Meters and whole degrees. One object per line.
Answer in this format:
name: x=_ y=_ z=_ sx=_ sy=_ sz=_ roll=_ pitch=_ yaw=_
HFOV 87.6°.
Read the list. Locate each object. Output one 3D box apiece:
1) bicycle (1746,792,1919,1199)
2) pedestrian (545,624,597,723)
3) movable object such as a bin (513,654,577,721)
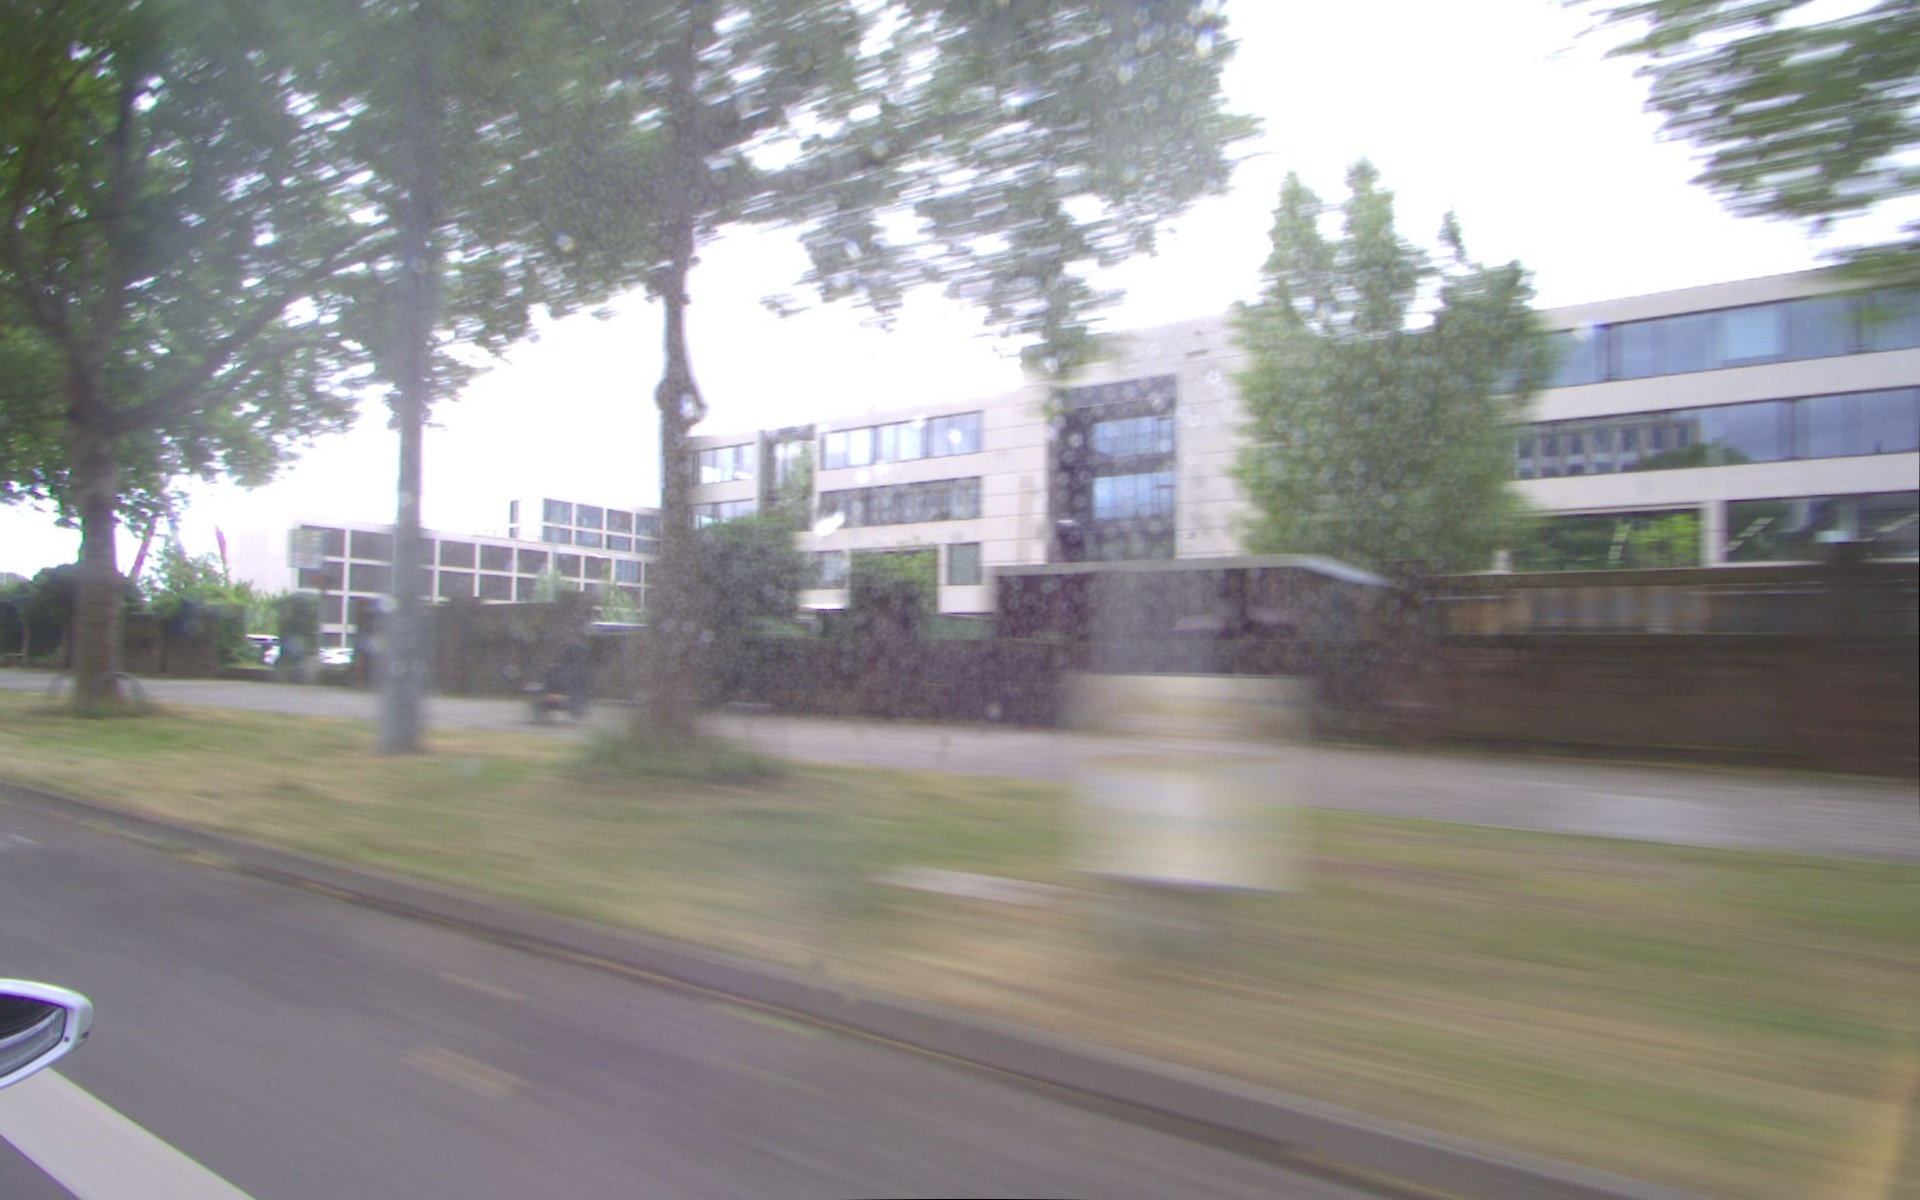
bicycle: x=2.441 y=0.940 z=1.212 sx=2.250 sy=1.164 sz=0.652 roll=-1 pitch=-3 yaw=31
pedestrian: x=-6.689 y=1.252 z=17.230 sx=0.662 sy=1.652 sz=0.556 roll=-1 pitch=-3 yaw=38
movable object such as a bin: x=-7.364 y=1.541 z=17.764 sx=1.002 sy=1.126 sz=0.609 roll=-1 pitch=-2 yaw=39
